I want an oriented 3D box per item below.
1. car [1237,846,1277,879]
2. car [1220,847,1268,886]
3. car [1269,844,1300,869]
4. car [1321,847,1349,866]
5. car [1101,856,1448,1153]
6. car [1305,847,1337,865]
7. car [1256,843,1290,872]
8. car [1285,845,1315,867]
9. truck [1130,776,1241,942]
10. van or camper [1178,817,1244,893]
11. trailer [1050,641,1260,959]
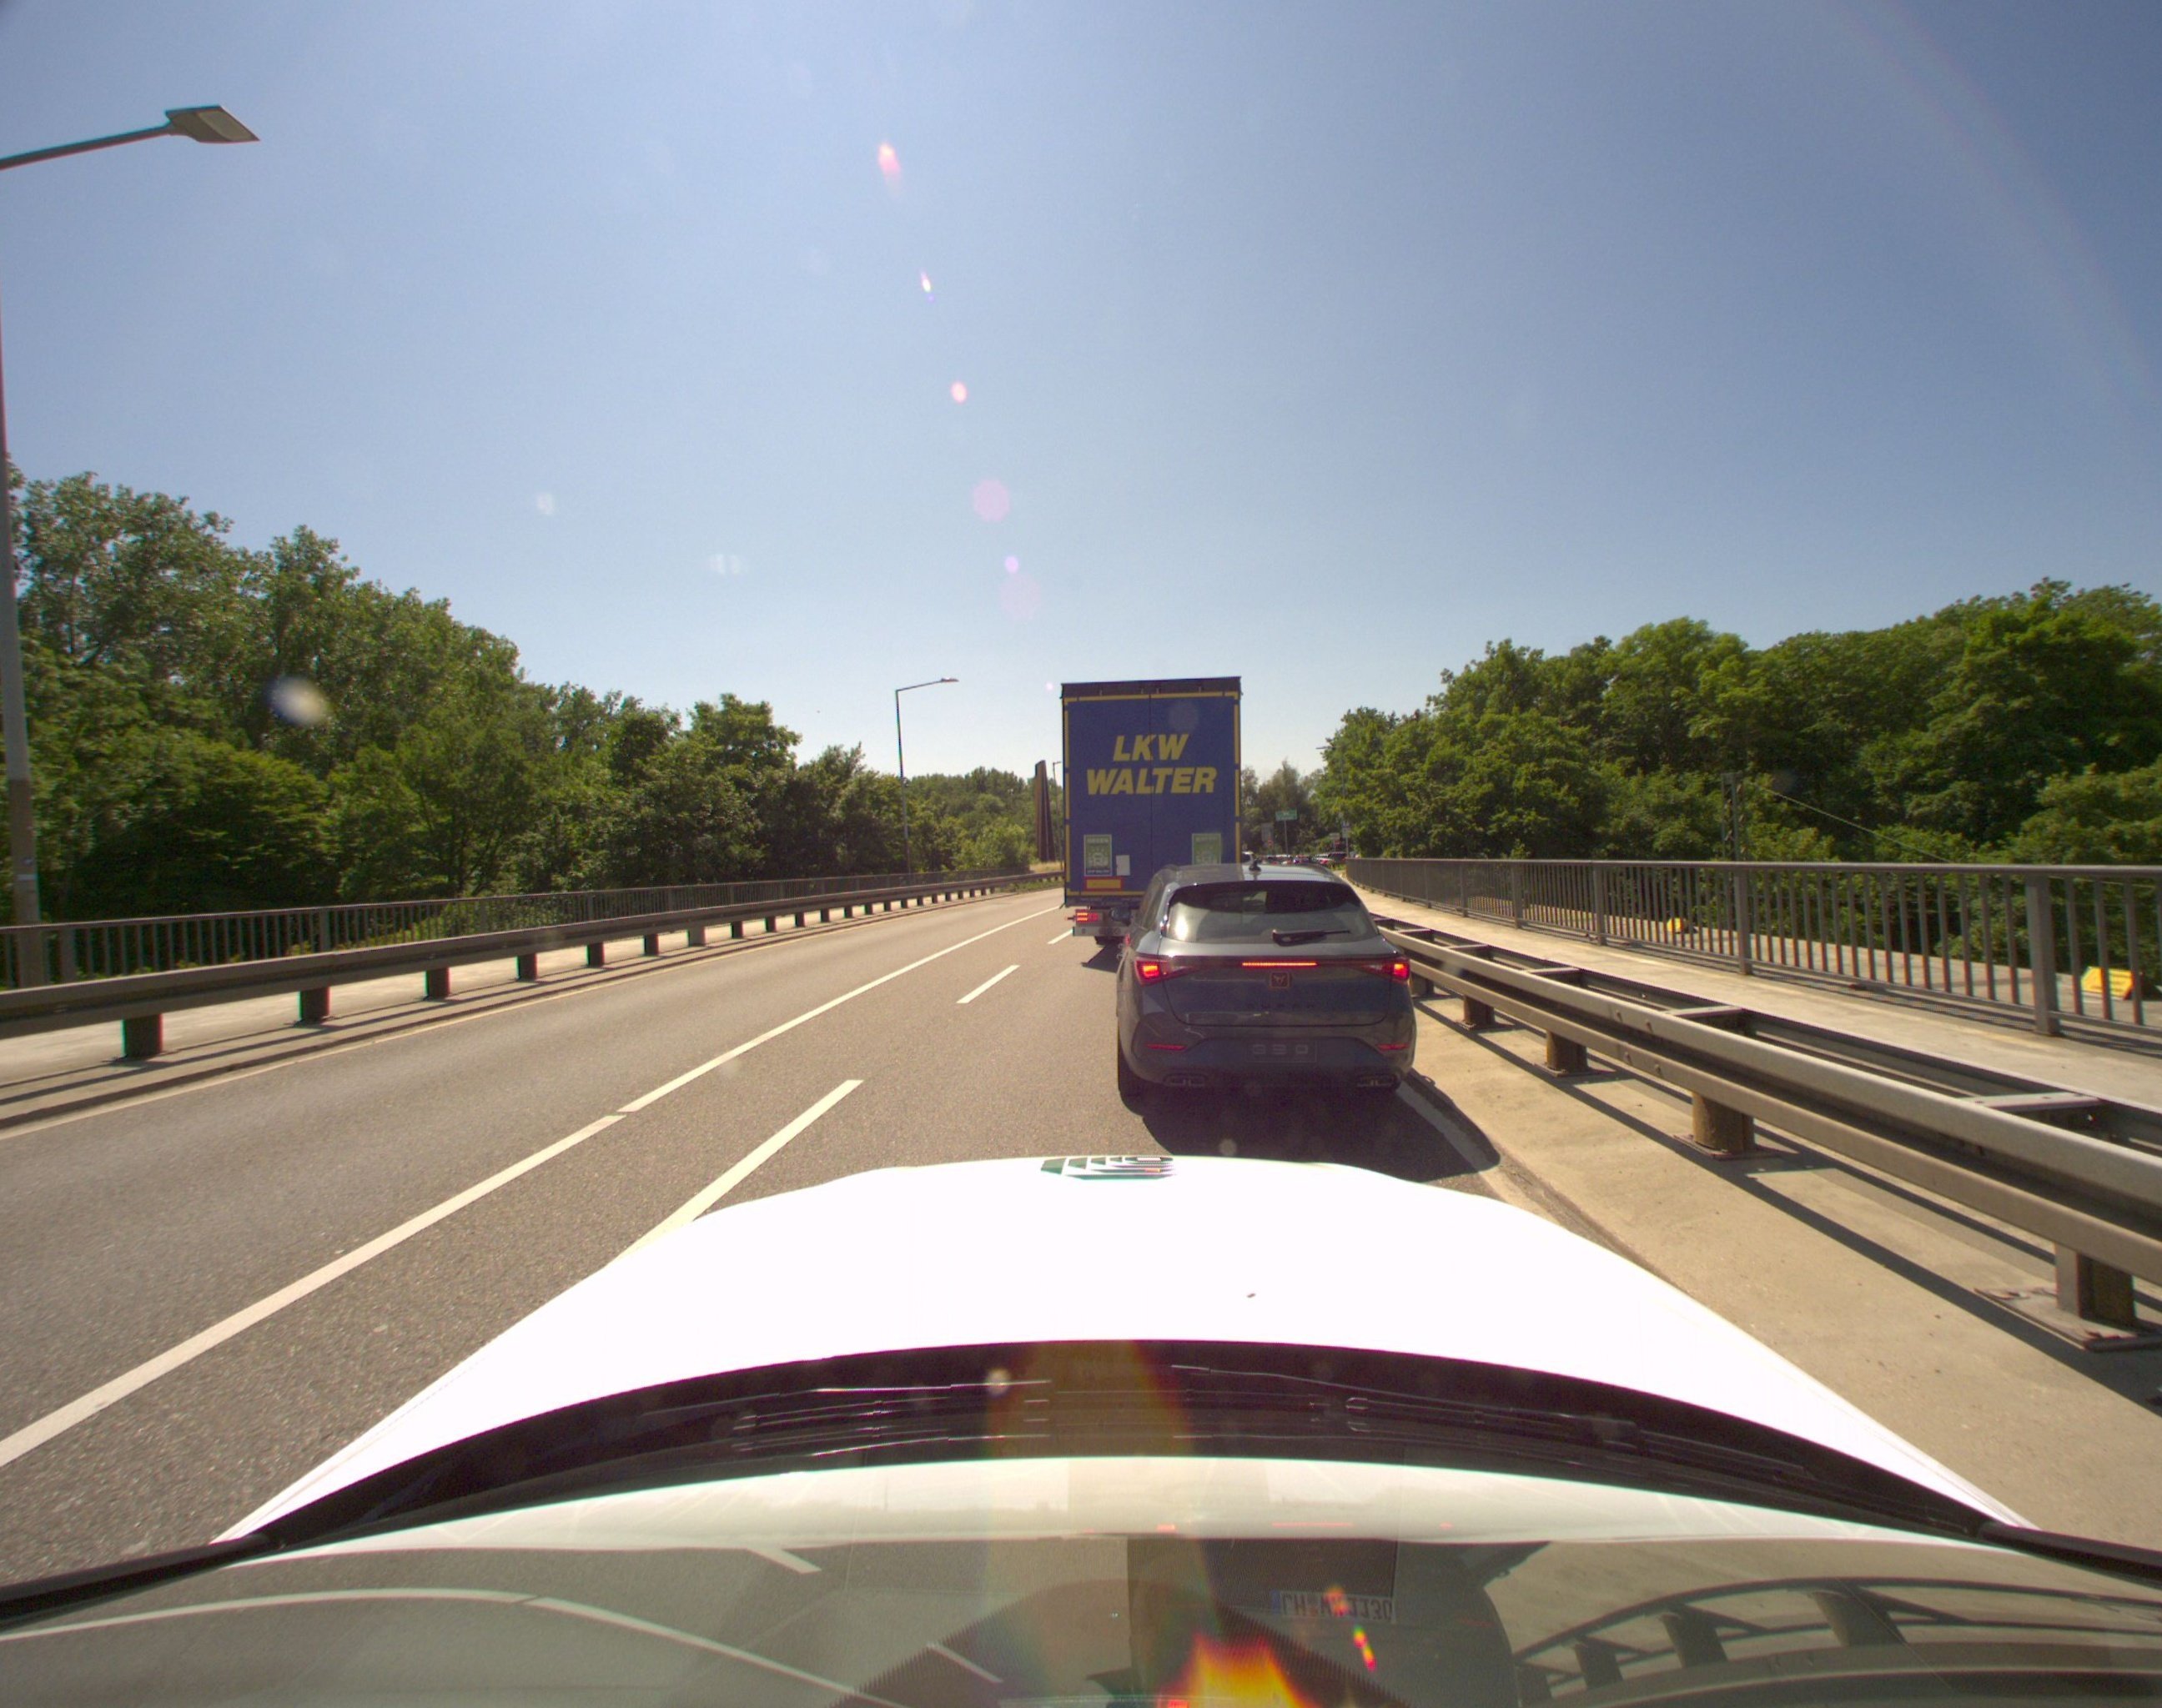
[{"bbox_3d":[10.263,0.478,47.219,1.706,1.802,4.020,-1,0,20],"label":"car"},{"bbox_3d":[8.234,0.597,40.944,1.706,1.844,4.020,-1,0,20],"label":"car"},{"bbox_3d":[15.353,0.167,61.302,1.706,1.844,4.021,-1,0,21],"label":"car"},{"bbox_3d":[24.969,0.276,79.943,1.669,1.760,4.025,-2,-1,30],"label":"car"},{"bbox_3d":[1.097,0.759,6.025,1.669,1.456,3.963,-1,0,4],"label":"car"},{"bbox_3d":[21.856,0.202,74.039,1.975,1.575,4.024,0,-1,28],"label":"car"},{"bbox_3d":[13.036,0.236,55.145,1.706,1.844,4.021,-1,0,21],"label":"car"},{"bbox_3d":[18.247,0.198,67.876,1.670,1.760,4.023,-1,-1,25],"label":"car"},{"bbox_3d":[3.346,0.142,25.111,2.887,4.418,6.573,-1,0,10],"label":"truck"},{"bbox_3d":[5.498,0.019,33.633,2.139,2.815,6.411,-1,0,14],"label":"van or camper"},{"bbox_3d":[2.062,-0.744,17.663,2.887,4.418,12.466,-1,0,10],"label":"trailer"}]
